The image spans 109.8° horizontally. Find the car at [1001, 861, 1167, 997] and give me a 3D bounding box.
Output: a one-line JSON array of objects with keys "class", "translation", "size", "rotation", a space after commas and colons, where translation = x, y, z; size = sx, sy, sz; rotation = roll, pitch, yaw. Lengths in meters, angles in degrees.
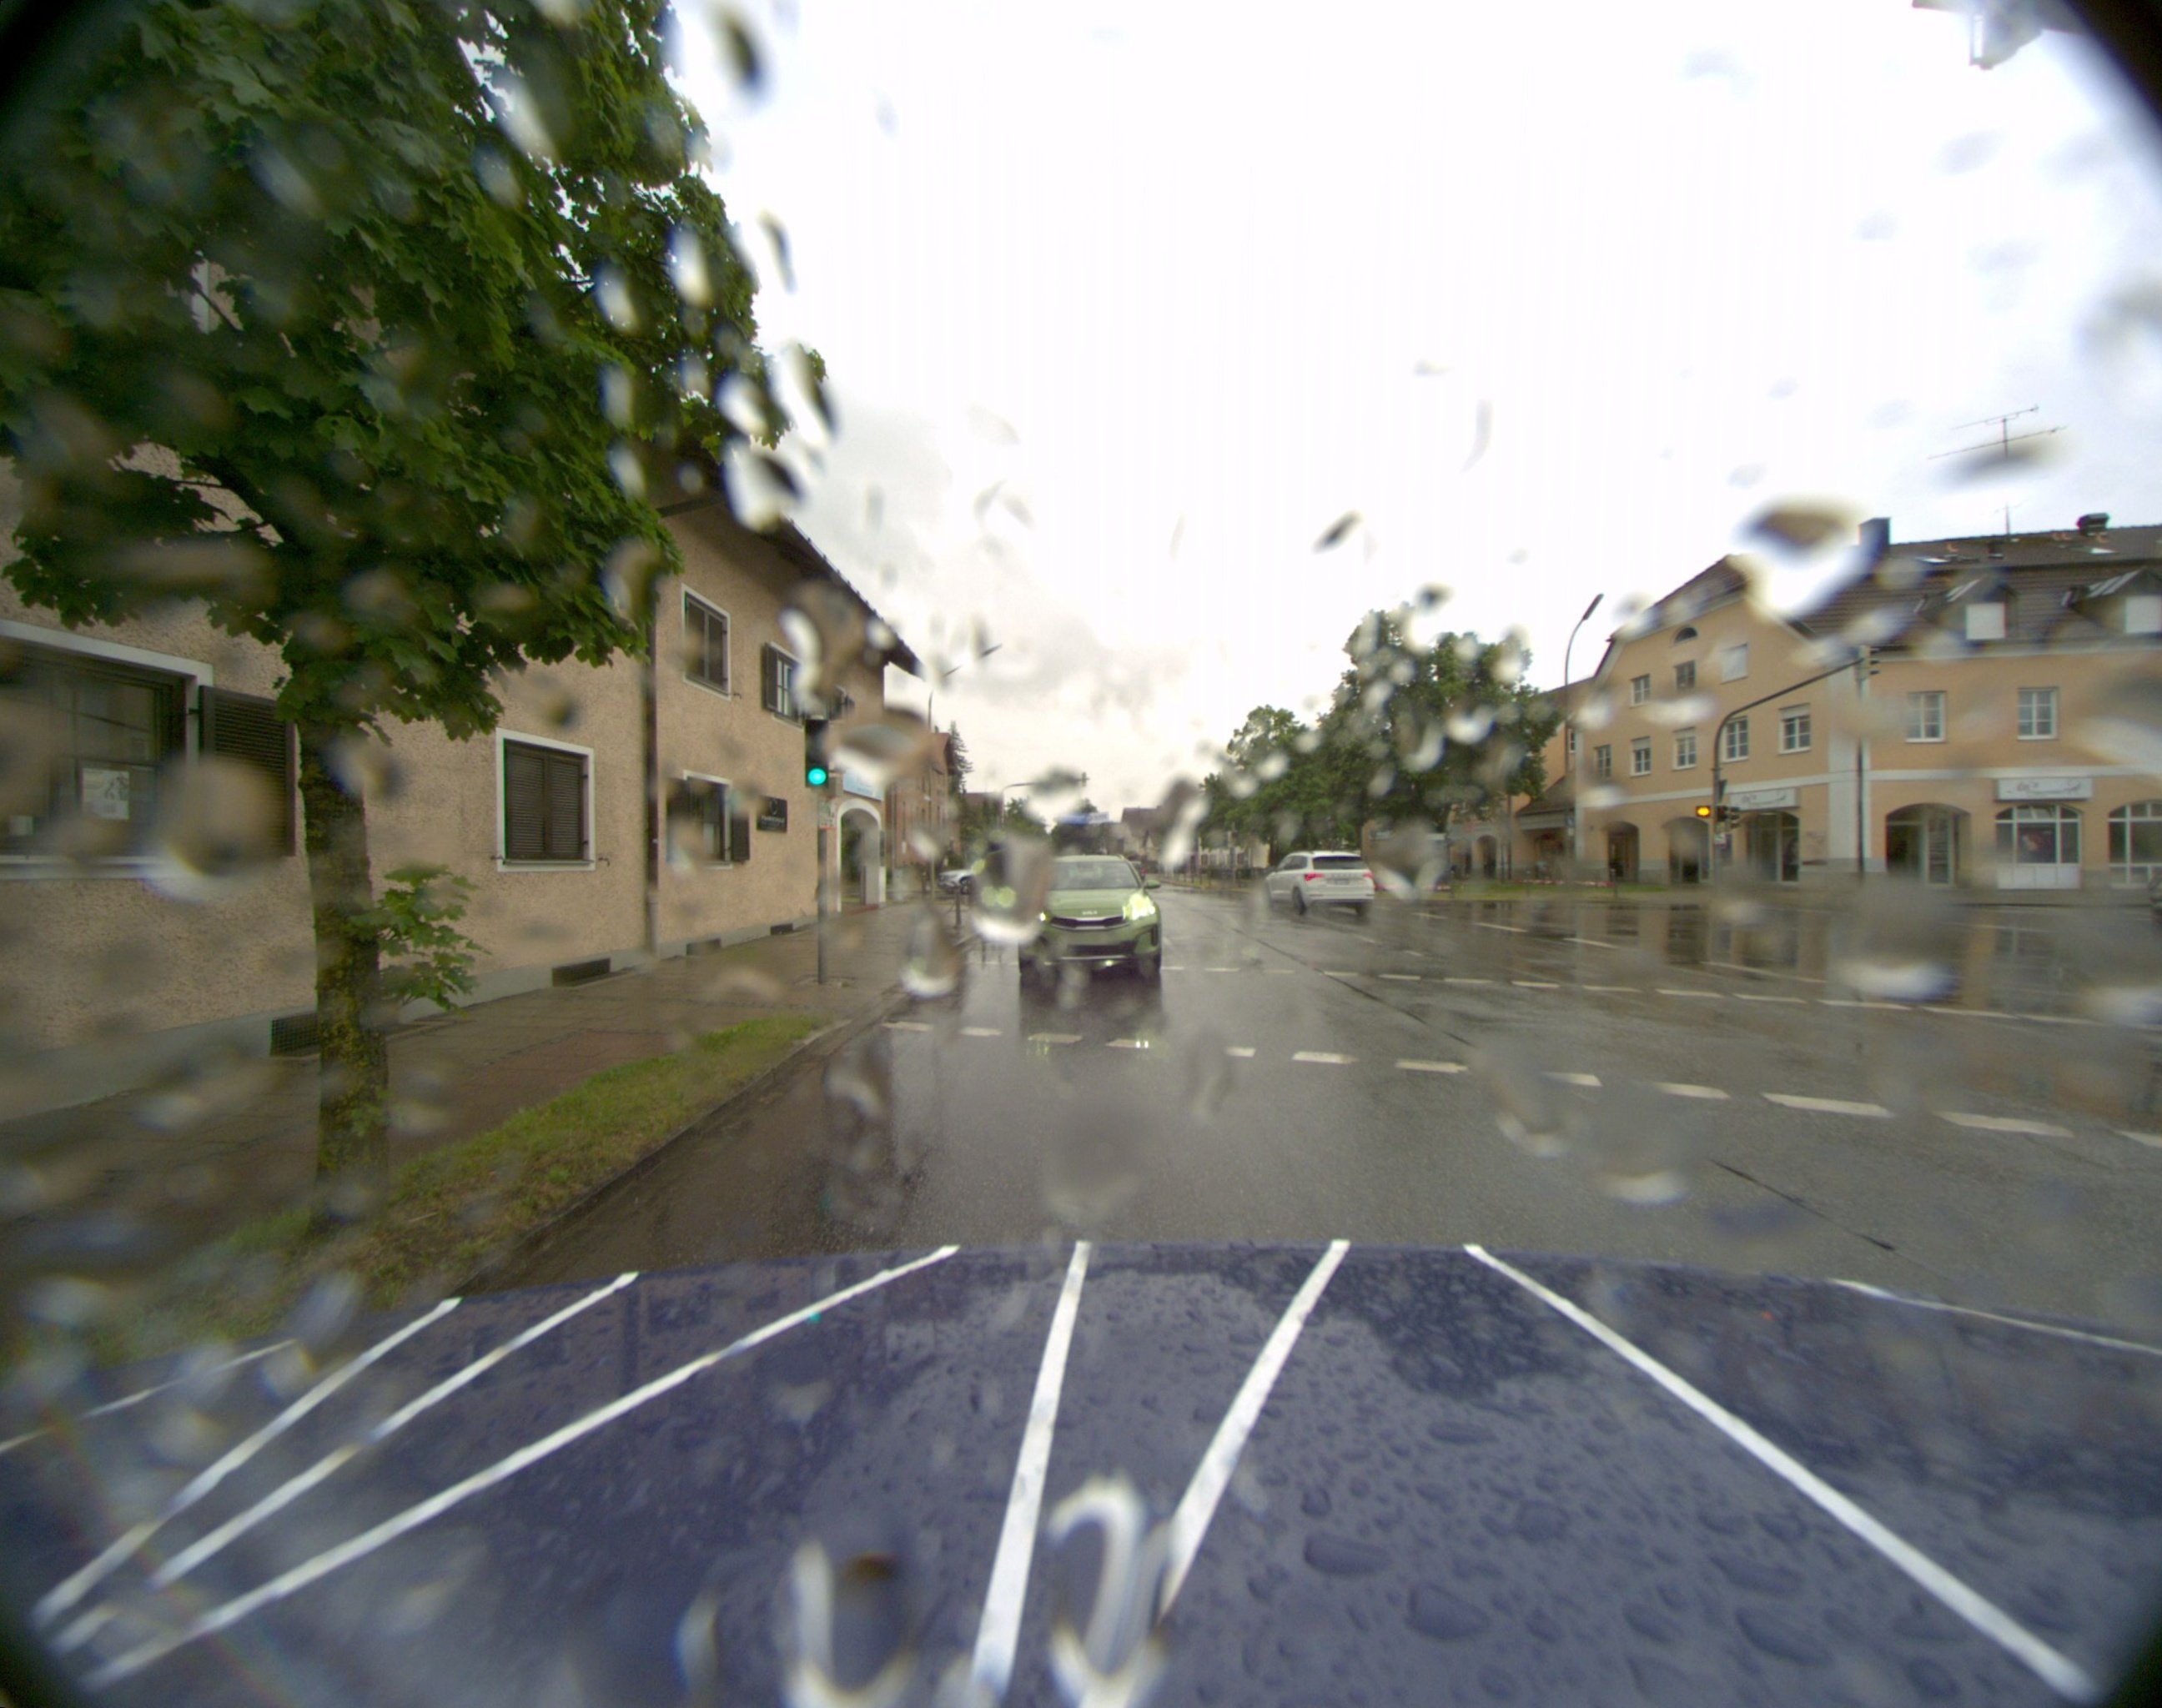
[{"class": "car", "translation": [0.062, 0.879, 10.816], "size": [1.872, 1.504, 4.105], "rotation": [-2, 0, 1]}]

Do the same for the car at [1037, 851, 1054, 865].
[{"class": "car", "translation": [-5.072, 0.578, 107.695], "size": [2.218, 1.977, 4.952], "rotation": [0, 0, -5]}]

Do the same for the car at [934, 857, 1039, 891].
[{"class": "car", "translation": [-4.407, 0.898, 35.859], "size": [4.619, 1.489, 1.732], "rotation": [0, 0, -35]}]

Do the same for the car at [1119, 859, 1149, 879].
[{"class": "car", "translation": [4.158, 1.156, 60.428], "size": [1.921, 1.524, 3.898], "rotation": [0, 0, -2]}]

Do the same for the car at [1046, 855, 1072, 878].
[{"class": "car", "translation": [-1.457, 0.862, 52.366], "size": [1.637, 1.508, 4.000], "rotation": [0, 0, 0]}]

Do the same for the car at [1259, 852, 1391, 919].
[{"class": "car", "translation": [6.174, 0.724, 19.764], "size": [1.972, 1.553, 4.150], "rotation": [0, 0, -2]}]

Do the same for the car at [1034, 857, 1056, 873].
[{"class": "car", "translation": [-3.490, 1.043, 73.972], "size": [1.839, 1.508, 4.669], "rotation": [0, 0, 0]}]
